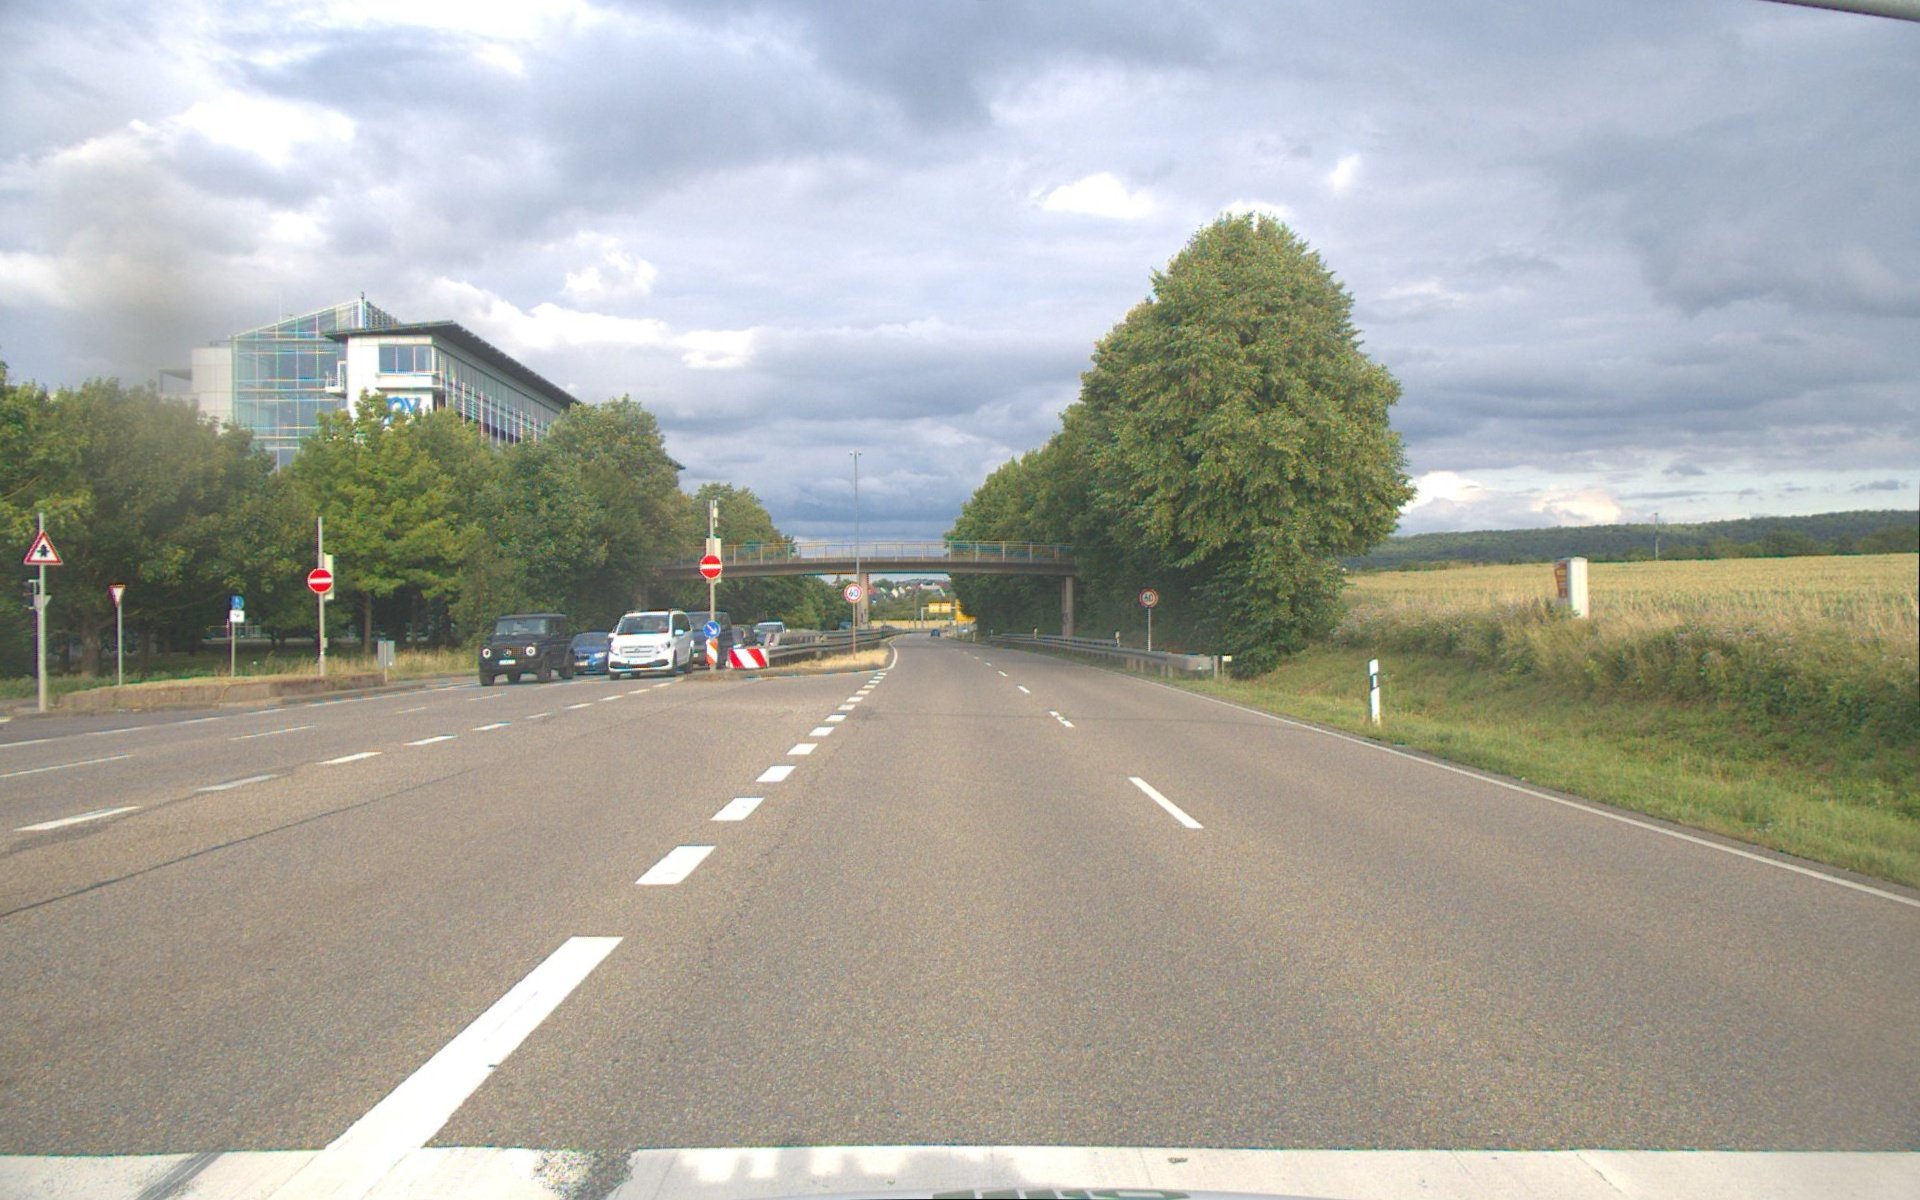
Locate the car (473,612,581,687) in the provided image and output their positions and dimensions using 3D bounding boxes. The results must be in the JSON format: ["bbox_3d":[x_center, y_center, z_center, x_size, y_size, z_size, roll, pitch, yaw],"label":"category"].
[{"bbox_3d":[-12.667,1.420,48.708,1.895,2.025,5.089,-2,-1,-2],"label":"car"}]

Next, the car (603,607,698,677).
[{"bbox_3d":[-9.090,1.213,49.011,1.895,1.905,5.345,-2,-1,-2],"label":"car"}]

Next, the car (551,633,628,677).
[{"bbox_3d":[-12.422,1.831,55.645,1.687,1.261,3.998,-4,0,-2],"label":"car"}]

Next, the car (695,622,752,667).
[{"bbox_3d":[-9.215,1.715,64.768,1.678,1.617,4.552,-1,0,-2],"label":"car"}]

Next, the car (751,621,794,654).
[{"bbox_3d":[-9.576,1.908,84.643,1.786,1.612,4.788,0,-1,-2],"label":"car"}]

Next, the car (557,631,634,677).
[{"bbox_3d":[-12.232,1.792,55.739,1.614,1.412,4.185,-2,-1,0],"label":"car"}]

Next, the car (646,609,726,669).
[{"bbox_3d":[-9.298,1.314,56.541,1.859,1.950,5.049,1,-1,0],"label":"car"}]
